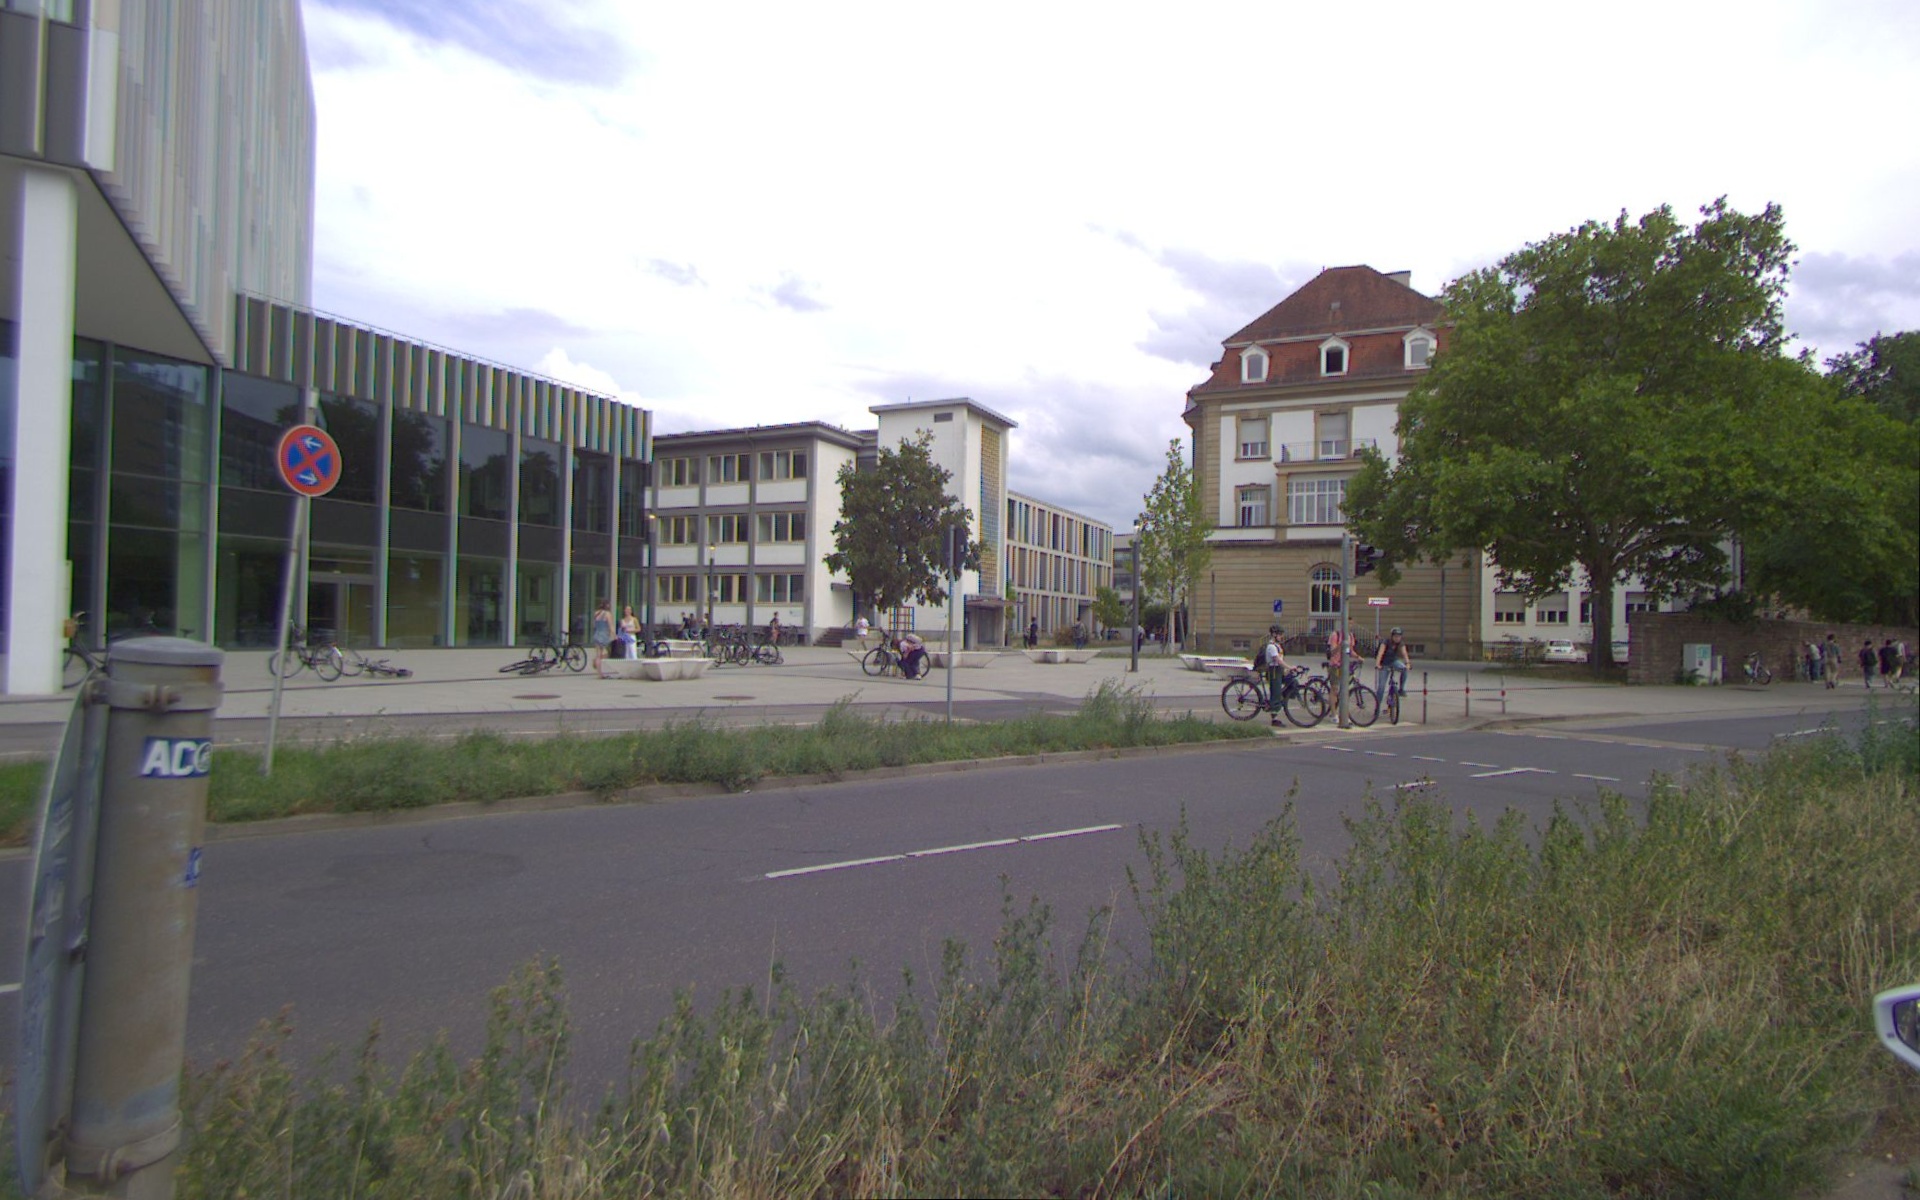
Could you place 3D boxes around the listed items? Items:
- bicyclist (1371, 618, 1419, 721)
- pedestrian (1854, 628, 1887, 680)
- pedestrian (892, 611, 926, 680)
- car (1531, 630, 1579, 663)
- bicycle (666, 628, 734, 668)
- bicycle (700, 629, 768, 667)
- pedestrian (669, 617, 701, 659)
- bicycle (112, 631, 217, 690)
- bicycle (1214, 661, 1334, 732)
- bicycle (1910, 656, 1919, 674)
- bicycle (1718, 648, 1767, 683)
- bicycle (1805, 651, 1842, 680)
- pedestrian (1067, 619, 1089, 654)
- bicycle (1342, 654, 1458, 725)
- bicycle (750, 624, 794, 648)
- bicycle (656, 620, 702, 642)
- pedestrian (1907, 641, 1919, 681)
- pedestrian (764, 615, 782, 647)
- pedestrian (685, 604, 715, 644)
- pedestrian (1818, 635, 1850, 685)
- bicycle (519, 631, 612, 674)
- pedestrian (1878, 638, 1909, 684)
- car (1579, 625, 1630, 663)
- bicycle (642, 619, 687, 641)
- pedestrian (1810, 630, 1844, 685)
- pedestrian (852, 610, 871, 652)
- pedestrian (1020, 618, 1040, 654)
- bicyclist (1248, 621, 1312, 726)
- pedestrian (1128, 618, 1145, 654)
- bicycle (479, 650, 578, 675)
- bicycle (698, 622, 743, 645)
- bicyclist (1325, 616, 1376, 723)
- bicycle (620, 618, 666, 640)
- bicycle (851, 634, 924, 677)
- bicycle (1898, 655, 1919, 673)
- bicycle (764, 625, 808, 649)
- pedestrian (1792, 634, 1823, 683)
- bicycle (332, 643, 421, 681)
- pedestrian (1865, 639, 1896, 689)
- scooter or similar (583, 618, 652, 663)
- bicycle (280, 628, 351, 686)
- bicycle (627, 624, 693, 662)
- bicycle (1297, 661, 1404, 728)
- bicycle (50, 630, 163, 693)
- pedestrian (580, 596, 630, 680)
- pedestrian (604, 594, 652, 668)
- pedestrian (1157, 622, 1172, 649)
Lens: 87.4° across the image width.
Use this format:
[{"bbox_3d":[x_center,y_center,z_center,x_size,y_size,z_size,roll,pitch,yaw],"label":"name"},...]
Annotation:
[{"bbox_3d":[8.067,1.274,18.632,0.558,1.831,0.594,2,0,-43],"label":"bicyclist"},{"bbox_3d":[32.613,1.946,35.995,0.748,1.805,0.782,1,-2,34],"label":"pedestrian"},{"bbox_3d":[-1.213,1.076,23.771,0.566,1.602,0.649,2,-1,-25],"label":"pedestrian"},{"bbox_3d":[34.063,2.638,57.618,1.874,1.774,3.998,1,-2,23],"label":"car"},{"bbox_3d":[-7.827,1.418,30.158,0.792,1.104,2.648,2,-2,-44],"label":"bicycle"},{"bbox_3d":[-6.991,1.458,30.988,0.792,1.104,2.648,2,-2,-44],"label":"bicycle"},{"bbox_3d":[-13.297,1.837,48.637,1.051,1.956,0.974,2,0,27],"label":"pedestrian"},{"bbox_3d":[-13.918,1.056,17.589,1.566,0.950,0.394,2,0,4],"label":"bicycle"},{"bbox_3d":[5.303,1.608,17.038,0.723,1.002,1.799,2,0,-43],"label":"bicycle"},{"bbox_3d":[46.936,3.173,49.096,1.605,0.807,0.437,1,1,-36],"label":"bicycle"},{"bbox_3d":[27.239,2.270,34.949,2.141,1.141,0.574,2,1,-32],"label":"bicycle"},{"bbox_3d":[34.107,2.580,39.656,1.960,1.072,0.545,2,2,-34],"label":"bicycle"},{"bbox_3d":[5.505,1.695,46.801,0.725,1.569,0.700,2,-1,-23],"label":"pedestrian"},{"bbox_3d":[8.095,1.623,18.550,0.603,1.185,1.871,2,-2,-44],"label":"bicycle"},{"bbox_3d":[-9.582,1.833,51.257,0.732,1.149,2.671,1,-1,26],"label":"bicycle"},{"bbox_3d":[-14.980,1.661,53.672,0.732,1.149,2.671,1,-1,26],"label":"bicycle"},{"bbox_3d":[43.506,2.771,45.482,0.749,1.805,0.781,1,-2,35],"label":"pedestrian"},{"bbox_3d":[-9.222,1.530,49.640,0.644,1.569,0.599,1,-1,13],"label":"pedestrian"},{"bbox_3d":[-12.987,1.203,50.178,1.051,1.956,0.974,1,-1,27],"label":"pedestrian"},{"bbox_3d":[32.178,2.214,36.983,0.748,1.805,0.782,1,-2,32],"label":"pedestrian"},{"bbox_3d":[-9.939,1.308,25.313,2.205,0.998,0.624,1,-1,13],"label":"bicycle"},{"bbox_3d":[37.055,2.418,39.892,0.748,1.805,0.912,1,-2,35],"label":"pedestrian"},{"bbox_3d":[35.839,2.421,55.957,1.752,2.040,3.998,1,-2,24],"label":"car"},{"bbox_3d":[-15.970,1.633,54.406,0.732,1.149,2.671,1,-1,26],"label":"bicycle"},{"bbox_3d":[29.764,1.969,34.482,0.734,1.805,0.782,1,-2,31],"label":"pedestrian"},{"bbox_3d":[-4.247,1.351,43.445,0.624,1.802,0.597,1,-1,10],"label":"pedestrian"},{"bbox_3d":[3.131,1.603,44.921,0.648,1.569,0.706,2,-1,-23],"label":"pedestrian"},{"bbox_3d":[5.401,1.224,16.946,0.719,1.695,0.719,2,0,-43],"label":"bicyclist"},{"bbox_3d":[10.349,2.096,58.883,0.779,2.040,0.835,1,-1,25],"label":"pedestrian"},{"bbox_3d":[-10.240,1.474,23.832,2.205,0.528,0.624,1,-1,13],"label":"bicycle"},{"bbox_3d":[-12.556,1.740,52.711,0.732,1.149,2.671,1,-1,26],"label":"bicycle"},{"bbox_3d":[6.919,1.222,17.803,0.558,1.831,0.594,2,0,-43],"label":"bicyclist"},{"bbox_3d":[-17.259,1.590,54.805,0.732,1.149,2.671,1,-1,26],"label":"bicycle"},{"bbox_3d":[-1.749,1.334,24.298,1.726,1.012,0.437,2,-1,-27],"label":"bicycle"},{"bbox_3d":[45.126,3.040,47.772,1.605,0.807,0.437,1,1,-36],"label":"bicycle"},{"bbox_3d":[-8.686,1.857,50.398,0.732,1.149,2.671,1,-1,26],"label":"bicycle"},{"bbox_3d":[32.145,2.220,38.128,0.733,1.805,0.783,1,-2,29],"label":"pedestrian"},{"bbox_3d":[-12.359,1.308,21.282,1.759,0.682,0.394,2,0,8],"label":"bicycle"},{"bbox_3d":[34.257,2.377,37.384,0.749,1.805,0.781,1,-2,35],"label":"pedestrian"},{"bbox_3d":[-9.707,1.128,28.433,2.087,1.214,0.595,0,-1,29],"label":"scooter or similar"},{"bbox_3d":[-12.768,1.117,19.884,1.517,1.043,0.394,2,1,24],"label":"bicycle"},{"bbox_3d":[-8.638,1.210,28.801,0.669,1.012,2.648,2,-2,-44],"label":"bicycle"},{"bbox_3d":[6.898,1.650,17.810,0.567,1.002,1.671,2,0,-43],"label":"bicycle"},{"bbox_3d":[-14.113,1.012,16.616,1.566,0.950,0.394,2,0,4],"label":"bicycle"},{"bbox_3d":[-7.655,0.807,21.687,0.717,1.763,0.678,1,-1,27],"label":"pedestrian"},{"bbox_3d":[-7.469,0.695,22.621,0.717,1.621,0.677,1,-1,30],"label":"pedestrian"},{"bbox_3d":[15.971,2.768,78.391,0.900,2.040,1.231,1,-1,25],"label":"pedestrian"}]
